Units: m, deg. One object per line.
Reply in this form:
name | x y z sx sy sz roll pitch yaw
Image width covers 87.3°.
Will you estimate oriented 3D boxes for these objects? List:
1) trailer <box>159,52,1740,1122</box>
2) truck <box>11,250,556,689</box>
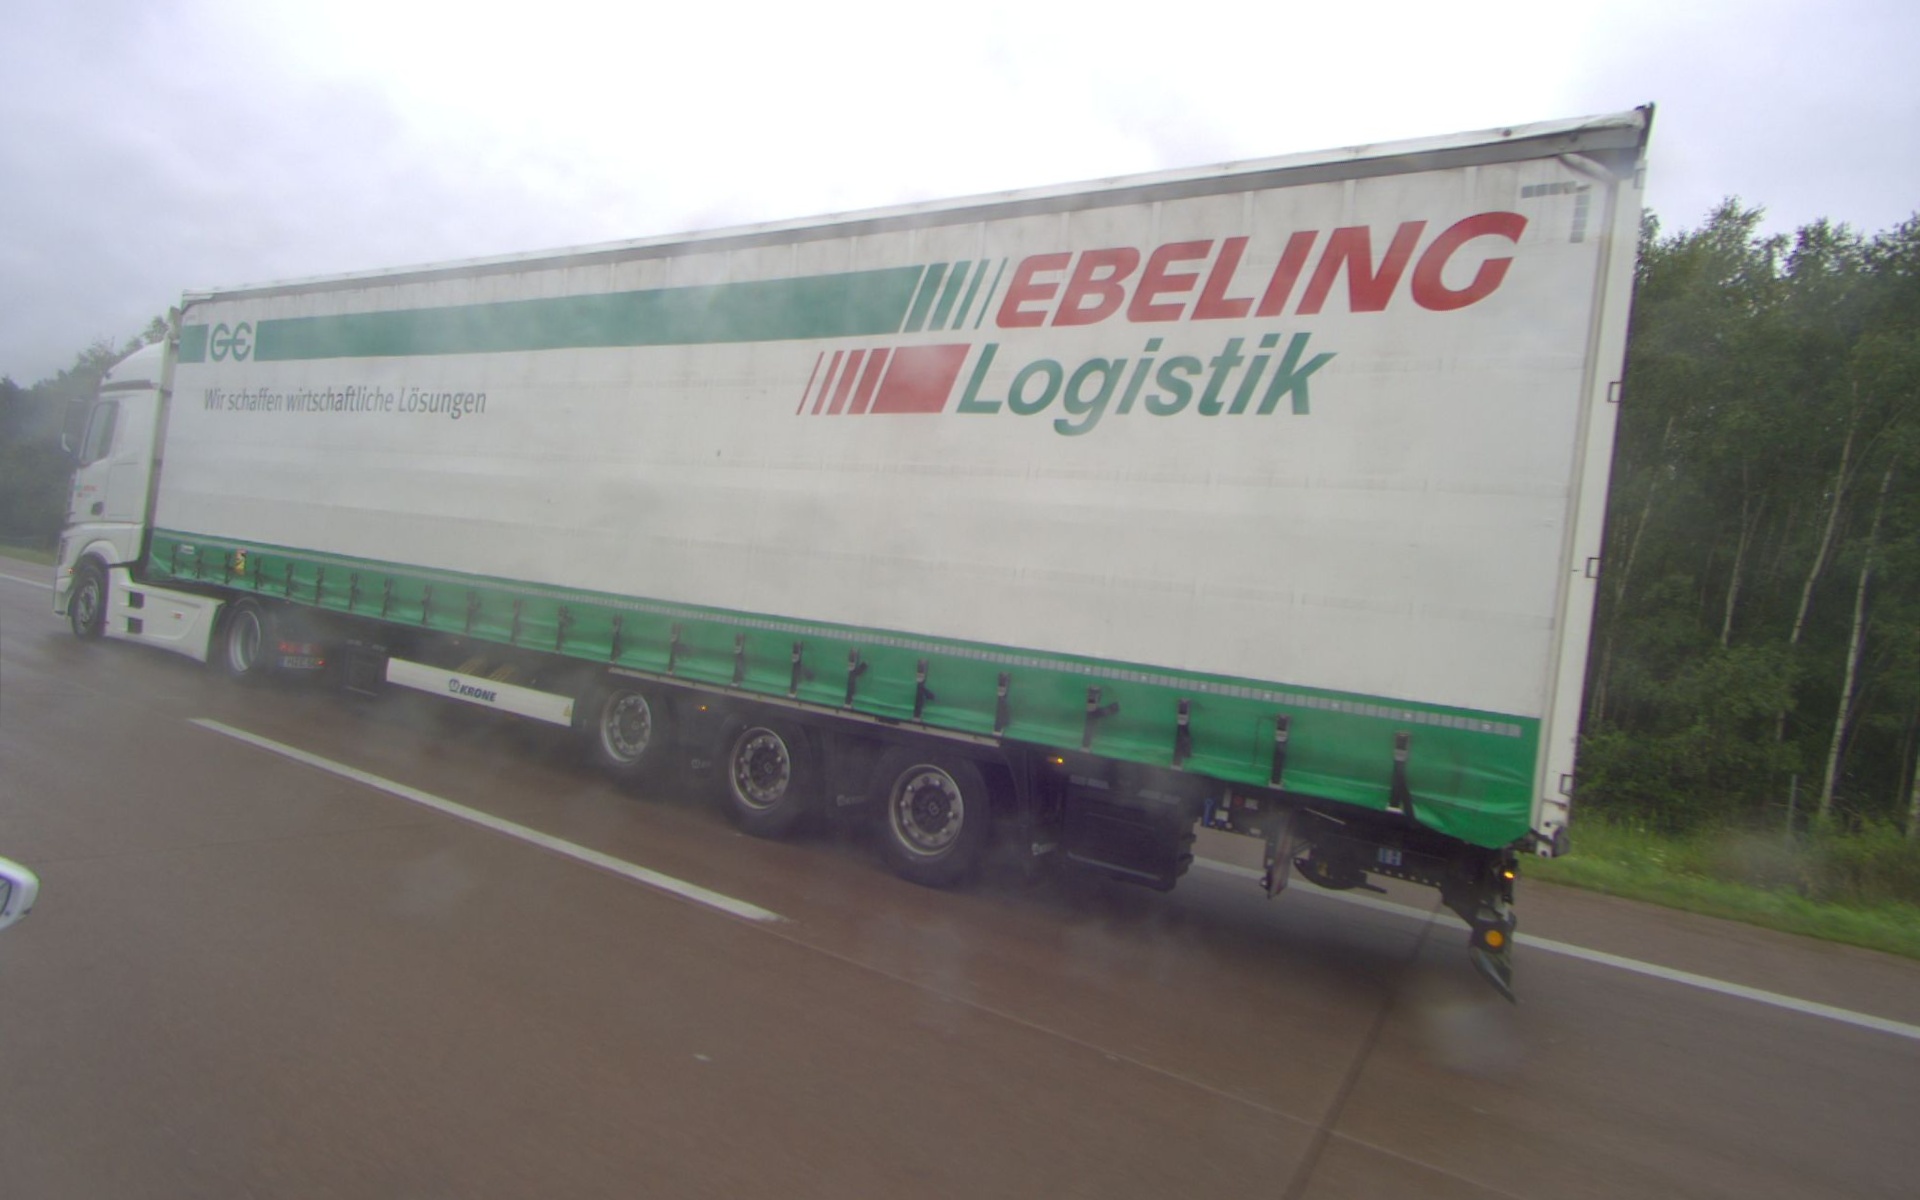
trailer | -1.997 -0.635 8.523 12.909 4.285 2.856 7 1 31
truck | -8.403 -1.470 12.339 6.242 4.159 2.884 7 1 31
